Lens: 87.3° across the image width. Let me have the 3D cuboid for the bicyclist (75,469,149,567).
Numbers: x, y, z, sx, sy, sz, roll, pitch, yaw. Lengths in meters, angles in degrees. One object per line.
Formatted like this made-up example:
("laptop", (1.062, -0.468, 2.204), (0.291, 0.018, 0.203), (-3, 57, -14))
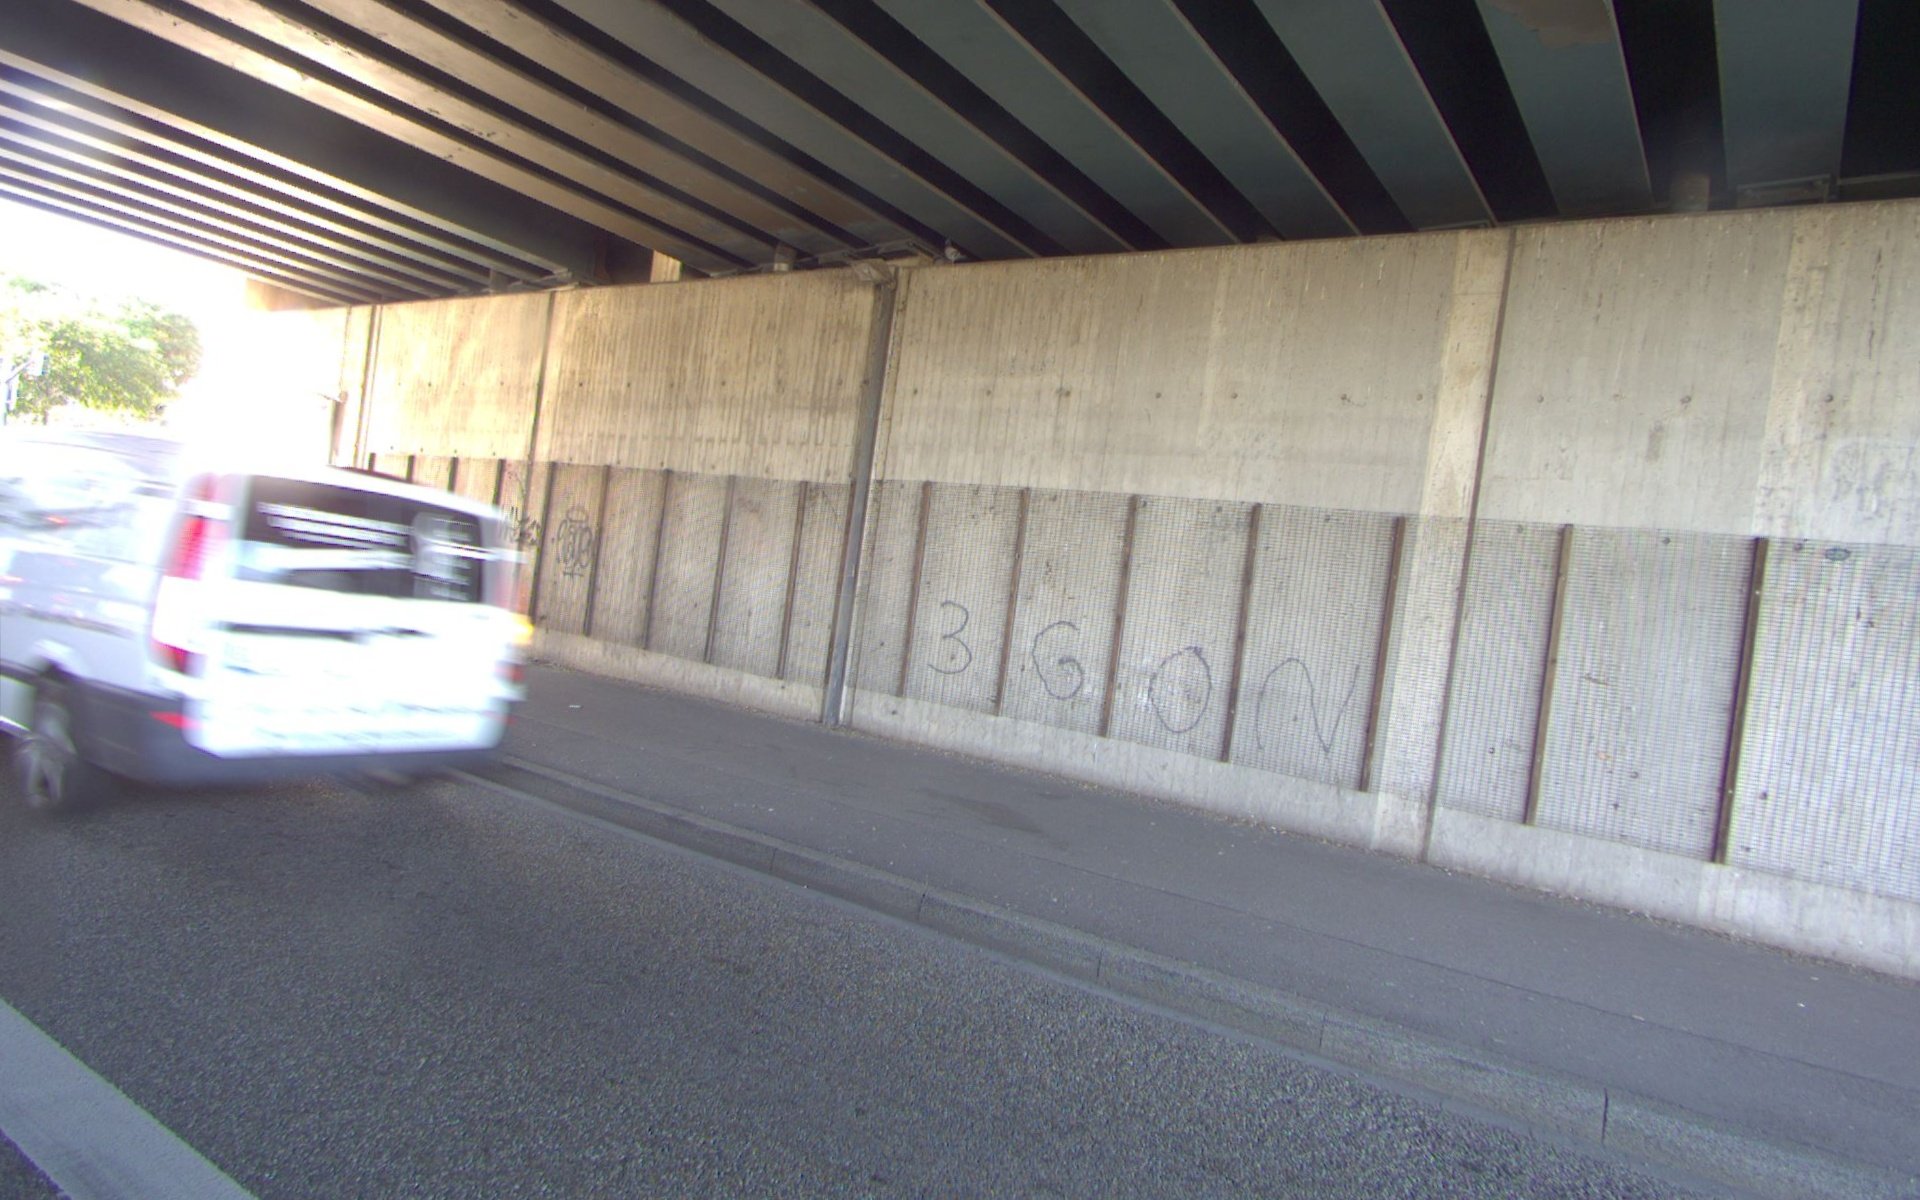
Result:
("bicyclist", (-14.737, -1.417, 17.488), (0.723, 1.581, 0.670), (7, 0, 32))

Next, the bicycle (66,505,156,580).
("bicycle", (-14.763, -1.012, 17.485), (1.578, 1.126, 0.682), (6, 0, 33))

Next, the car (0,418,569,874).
("car", (-4.892, 0.043, 6.135), (4.752, 1.857, 1.902), (7, -1, 29))

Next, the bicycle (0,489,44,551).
("bicycle", (-18.756, -1.576, 19.354), (0.757, 1.160, 2.457), (6, 0, -21))

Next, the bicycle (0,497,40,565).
("bicycle", (-16.128, -1.193, 16.973), (1.508, 1.036, 0.676), (6, -2, 43))

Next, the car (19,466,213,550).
("car", (-26.207, -2.790, 31.458), (1.785, 1.855, 4.303), (8, 0, 12))

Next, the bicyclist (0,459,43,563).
("bicyclist", (-16.108, -1.515, 17.004), (0.635, 1.647, 0.676), (6, -2, 42))

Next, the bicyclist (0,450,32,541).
("bicyclist", (-18.739, -2.058, 19.433), (0.739, 1.674, 0.882), (8, -1, -22))
